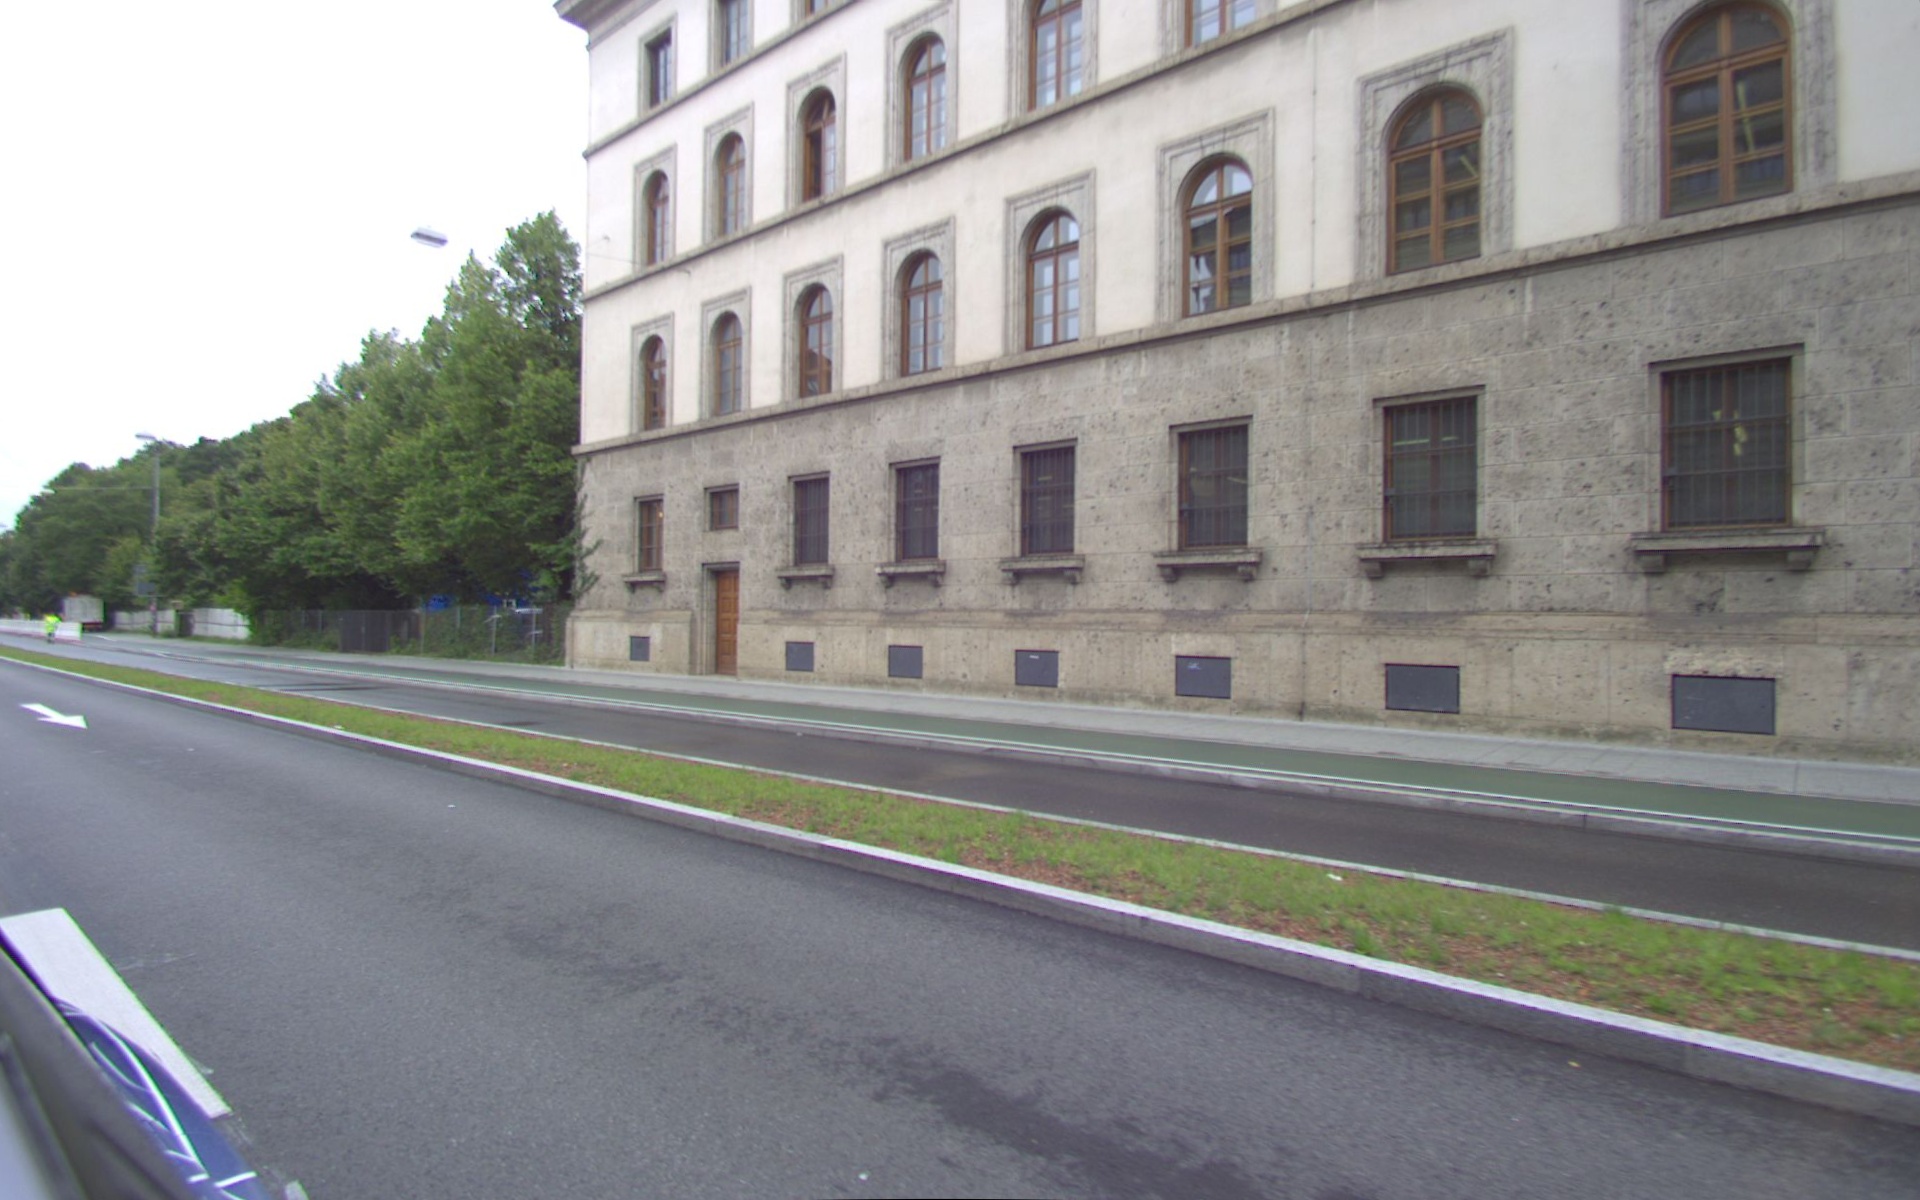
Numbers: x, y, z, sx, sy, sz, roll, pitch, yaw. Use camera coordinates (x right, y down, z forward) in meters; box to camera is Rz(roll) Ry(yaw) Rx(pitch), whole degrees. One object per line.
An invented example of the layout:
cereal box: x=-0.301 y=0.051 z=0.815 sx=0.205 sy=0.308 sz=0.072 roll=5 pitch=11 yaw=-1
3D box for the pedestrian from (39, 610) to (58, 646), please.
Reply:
pedestrian: x=-53.030 y=1.629 z=58.882 sx=0.867 sy=2.029 sz=0.748 roll=-1 pitch=-1 yaw=41

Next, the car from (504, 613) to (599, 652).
car: x=-20.234 y=1.580 z=50.190 sx=1.877 sy=1.722 sz=3.981 roll=2 pitch=1 yaw=45
